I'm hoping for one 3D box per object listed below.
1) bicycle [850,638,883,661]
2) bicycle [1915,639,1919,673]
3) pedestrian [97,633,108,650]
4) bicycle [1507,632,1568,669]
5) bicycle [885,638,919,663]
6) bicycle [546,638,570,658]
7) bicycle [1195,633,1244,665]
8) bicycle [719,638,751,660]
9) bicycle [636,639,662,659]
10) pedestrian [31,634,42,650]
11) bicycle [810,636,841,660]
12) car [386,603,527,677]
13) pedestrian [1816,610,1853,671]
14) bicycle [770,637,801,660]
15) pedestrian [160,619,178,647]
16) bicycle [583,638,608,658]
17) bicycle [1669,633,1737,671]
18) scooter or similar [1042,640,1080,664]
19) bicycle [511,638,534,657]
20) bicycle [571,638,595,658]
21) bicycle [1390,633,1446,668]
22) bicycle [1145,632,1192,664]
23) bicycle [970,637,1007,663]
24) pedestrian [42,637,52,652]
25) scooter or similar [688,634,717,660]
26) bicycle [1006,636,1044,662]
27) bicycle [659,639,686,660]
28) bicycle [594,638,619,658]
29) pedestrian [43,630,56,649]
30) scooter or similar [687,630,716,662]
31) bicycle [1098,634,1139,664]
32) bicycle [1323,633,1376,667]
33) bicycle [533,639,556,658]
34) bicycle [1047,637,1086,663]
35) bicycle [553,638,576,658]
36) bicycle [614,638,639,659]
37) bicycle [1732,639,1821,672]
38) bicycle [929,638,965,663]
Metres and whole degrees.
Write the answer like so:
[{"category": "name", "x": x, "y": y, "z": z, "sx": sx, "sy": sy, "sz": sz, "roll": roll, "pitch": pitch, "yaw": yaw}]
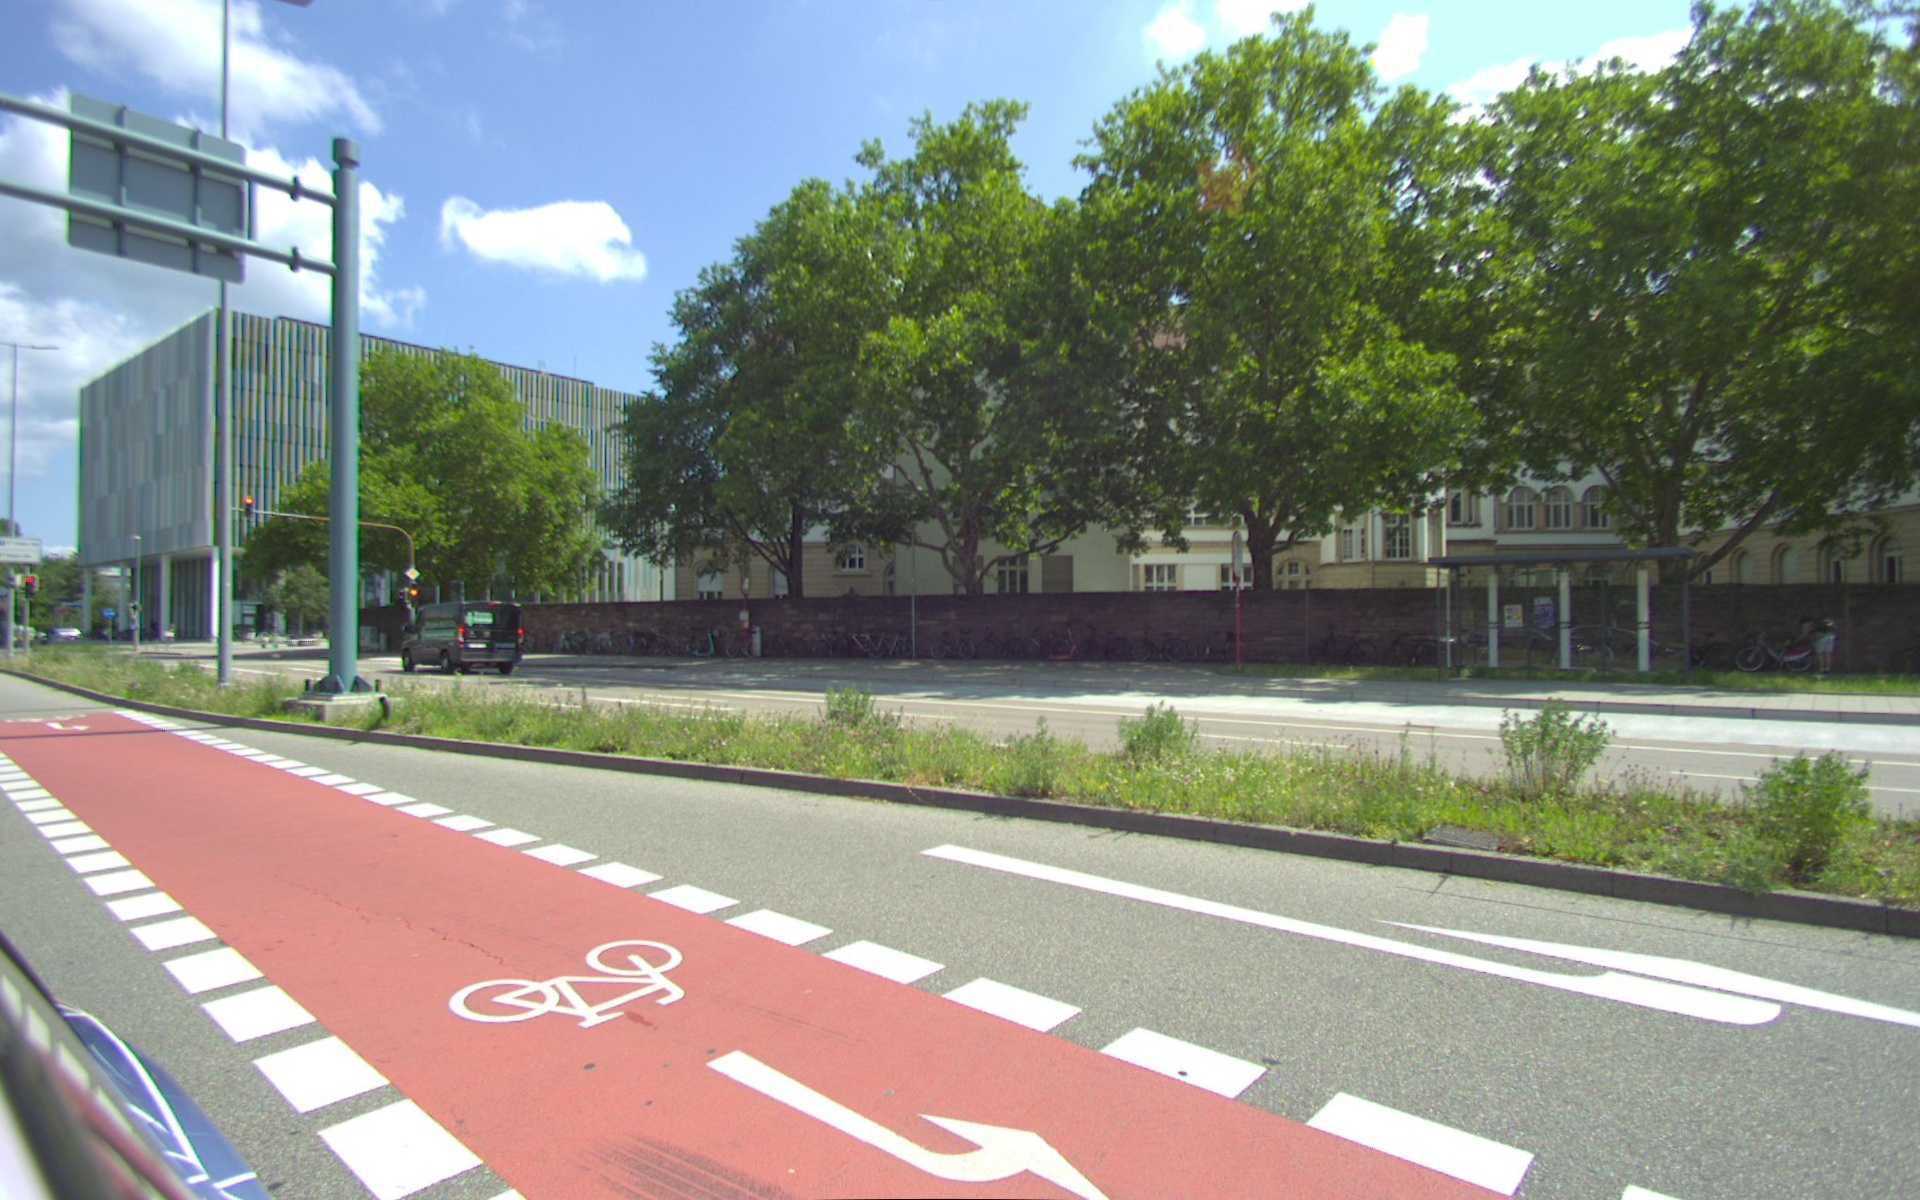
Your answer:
[{"category": "bicycle", "x": -3.317, "y": 1.754, "z": 35.933, "sx": 1.231, "sy": 0.837, "sz": 0.262, "roll": -1, "pitch": -2, "yaw": 30}, {"category": "bicycle", "x": 24.433, "y": 1.358, "z": 24.603, "sx": 1.734, "sy": 0.823, "sz": 0.382, "roll": -1, "pitch": -2, "yaw": 18}, {"category": "pedestrian", "x": -75.691, "y": 3.685, "z": 89.365, "sx": 0.686, "sy": 1.464, "sz": 0.689, "roll": 1, "pitch": -2, "yaw": -43}, {"category": "bicycle", "x": 15.622, "y": 1.369, "z": 27.389, "sx": 1.384, "sy": 0.972, "sz": 0.263, "roll": -1, "pitch": -2, "yaw": 18}, {"category": "bicycle", "x": -2.023, "y": 1.751, "z": 35.115, "sx": 1.231, "sy": 0.837, "sz": 0.262, "roll": -1, "pitch": -2, "yaw": 30}, {"category": "bicycle", "x": -17.479, "y": 2.095, "z": 43.986, "sx": 1.230, "sy": 0.837, "sz": 0.262, "roll": -1, "pitch": -2, "yaw": 29}, {"category": "bicycle", "x": 7.798, "y": 1.470, "z": 30.416, "sx": 1.389, "sy": 0.972, "sz": 0.262, "roll": -1, "pitch": -2, "yaw": 28}, {"category": "bicycle", "x": -8.655, "y": 1.886, "z": 38.948, "sx": 1.226, "sy": 0.837, "sz": 0.263, "roll": -1, "pitch": -2, "yaw": 19}, {"category": "bicycle", "x": -12.741, "y": 2.007, "z": 41.483, "sx": 1.231, "sy": 0.837, "sz": 0.262, "roll": -2, "pitch": -2, "yaw": 30}, {"category": "pedestrian", "x": -84.629, "y": 3.875, "z": 92.765, "sx": 0.686, "sy": 1.464, "sz": 0.689, "roll": 1, "pitch": -3, "yaw": -45}, {"category": "bicycle", "x": -4.898, "y": 1.741, "z": 36.856, "sx": 1.231, "sy": 0.837, "sz": 0.262, "roll": -1, "pitch": -2, "yaw": 30}, {"category": "car", "x": -16.069, "y": 1.290, "z": 32.195, "sx": 5.014, "sy": 2.192, "sz": 2.126, "roll": -2, "pitch": -4, "yaw": 40}, {"category": "pedestrian", "x": 21.434, "y": 0.991, "z": 24.809, "sx": 0.633, "sy": 1.484, "sz": 0.504, "roll": -2, "pitch": -2, "yaw": 39}, {"category": "bicycle", "x": -6.478, "y": 1.810, "z": 37.565, "sx": 1.231, "sy": 0.837, "sz": 0.262, "roll": -1, "pitch": -2, "yaw": 30}, {"category": "pedestrian", "x": -58.743, "y": 2.448, "z": 75.143, "sx": 0.994, "sy": 2.029, "sz": 0.853, "roll": -2, "pitch": -2, "yaw": 39}, {"category": "bicycle", "x": -15.340, "y": 2.003, "z": 42.554, "sx": 1.230, "sy": 0.837, "sz": 0.262, "roll": -1, "pitch": -2, "yaw": 29}, {"category": "bicycle", "x": 19.225, "y": 1.346, "z": 26.195, "sx": 1.384, "sy": 0.972, "sz": 0.263, "roll": -1, "pitch": -2, "yaw": 18}, {"category": "scooter or similar", "x": 3.170, "y": 1.629, "z": 31.807, "sx": 1.133, "sy": 0.734, "sz": 0.264, "roll": -1, "pitch": -2, "yaw": 18}, {"category": "bicycle", "x": -19.981, "y": 2.169, "z": 46.195, "sx": 1.230, "sy": 0.837, "sz": 0.262, "roll": -1, "pitch": -2, "yaw": 29}, {"category": "bicycle", "x": -16.276, "y": 2.082, "z": 43.723, "sx": 1.231, "sy": 0.837, "sz": 0.262, "roll": -2, "pitch": -2, "yaw": 30}, {"category": "bicycle", "x": 12.856, "y": 1.405, "z": 28.419, "sx": 1.384, "sy": 0.972, "sz": 0.263, "roll": -1, "pitch": -2, "yaw": 18}, {"category": "bicycle", "x": 6.387, "y": 1.476, "z": 31.023, "sx": 1.385, "sy": 0.972, "sz": 0.263, "roll": -1, "pitch": -2, "yaw": 20}, {"category": "bicycle", "x": 0.952, "y": 1.662, "z": 33.718, "sx": 1.230, "sy": 0.837, "sz": 0.262, "roll": -1, "pitch": -2, "yaw": 28}, {"category": "pedestrian", "x": -88.980, "y": 4.346, "z": 98.639, "sx": 0.686, "sy": 1.464, "sz": 0.689, "roll": 1, "pitch": -3, "yaw": -45}, {"category": "scooter or similar", "x": -10.153, "y": 1.842, "z": 39.918, "sx": 1.133, "sy": 1.028, "sz": 0.264, "roll": -1, "pitch": -2, "yaw": 19}, {"category": "bicycle", "x": 2.124, "y": 1.610, "z": 33.068, "sx": 1.230, "sy": 0.837, "sz": 0.262, "roll": -1, "pitch": -2, "yaw": 28}, {"category": "bicycle", "x": -11.539, "y": 1.966, "z": 40.569, "sx": 1.231, "sy": 0.837, "sz": 0.262, "roll": -2, "pitch": -2, "yaw": 30}, {"category": "bicycle", "x": -14.993, "y": 2.016, "z": 42.878, "sx": 1.231, "sy": 0.837, "sz": 0.262, "roll": -2, "pitch": -2, "yaw": 30}, {"category": "pedestrian", "x": -83.616, "y": 3.660, "z": 92.971, "sx": 0.705, "sy": 1.704, "sz": 0.783, "roll": -2, "pitch": -2, "yaw": 42}, {"category": "scooter or similar", "x": -9.935, "y": 1.757, "z": 38.841, "sx": 1.230, "sy": 1.199, "sz": 0.262, "roll": -1, "pitch": -2, "yaw": 29}, {"category": "bicycle", "x": 4.935, "y": 1.522, "z": 31.592, "sx": 1.230, "sy": 0.915, "sz": 0.262, "roll": -1, "pitch": -2, "yaw": 28}, {"category": "bicycle", "x": 11.171, "y": 1.427, "z": 29.033, "sx": 1.384, "sy": 0.972, "sz": 0.263, "roll": -1, "pitch": -2, "yaw": 18}, {"category": "bicycle", "x": -18.604, "y": 2.162, "z": 45.307, "sx": 1.230, "sy": 0.837, "sz": 0.262, "roll": -1, "pitch": -2, "yaw": 29}, {"category": "bicycle", "x": 3.400, "y": 1.594, "z": 32.457, "sx": 1.230, "sy": 0.837, "sz": 0.262, "roll": -1, "pitch": -2, "yaw": 28}, {"category": "bicycle", "x": -17.415, "y": 2.110, "z": 44.557, "sx": 1.230, "sy": 0.837, "sz": 0.262, "roll": -1, "pitch": -2, "yaw": 29}, {"category": "bicycle", "x": -13.911, "y": 2.026, "z": 42.185, "sx": 1.231, "sy": 0.837, "sz": 0.262, "roll": -2, "pitch": -2, "yaw": 30}, {"category": "bicycle", "x": 20.736, "y": 1.406, "z": 25.722, "sx": 1.734, "sy": 0.823, "sz": 0.327, "roll": -1, "pitch": -2, "yaw": 18}, {"category": "bicycle", "x": -0.440, "y": 1.695, "z": 34.276, "sx": 1.230, "sy": 0.837, "sz": 0.262, "roll": -1, "pitch": -2, "yaw": 28}]
